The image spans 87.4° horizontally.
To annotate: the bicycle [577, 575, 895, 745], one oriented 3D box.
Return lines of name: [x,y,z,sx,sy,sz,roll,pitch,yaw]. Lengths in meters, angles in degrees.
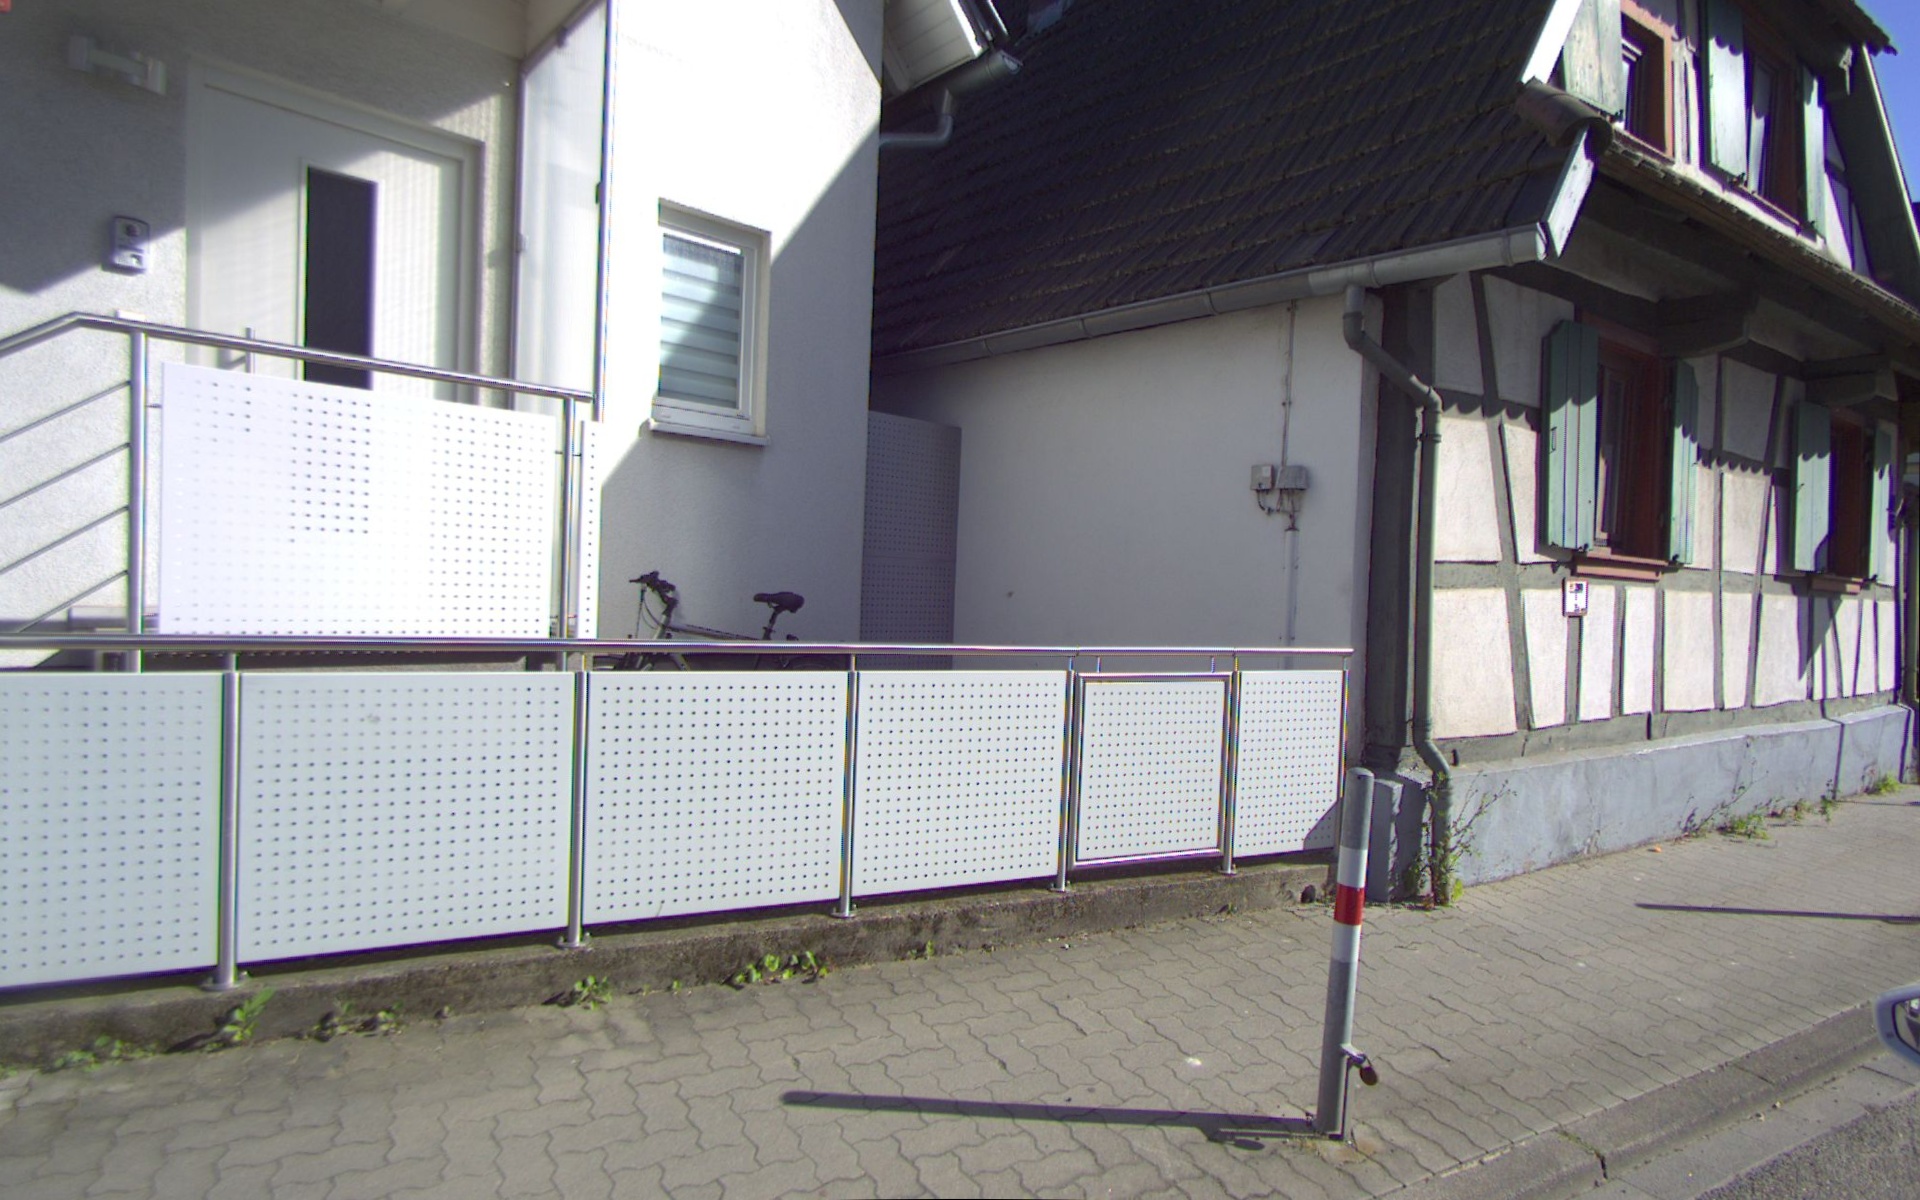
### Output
bicycle: [-1.089,0.273,5.065,1.489,0.727,0.484,1,3,-39]
